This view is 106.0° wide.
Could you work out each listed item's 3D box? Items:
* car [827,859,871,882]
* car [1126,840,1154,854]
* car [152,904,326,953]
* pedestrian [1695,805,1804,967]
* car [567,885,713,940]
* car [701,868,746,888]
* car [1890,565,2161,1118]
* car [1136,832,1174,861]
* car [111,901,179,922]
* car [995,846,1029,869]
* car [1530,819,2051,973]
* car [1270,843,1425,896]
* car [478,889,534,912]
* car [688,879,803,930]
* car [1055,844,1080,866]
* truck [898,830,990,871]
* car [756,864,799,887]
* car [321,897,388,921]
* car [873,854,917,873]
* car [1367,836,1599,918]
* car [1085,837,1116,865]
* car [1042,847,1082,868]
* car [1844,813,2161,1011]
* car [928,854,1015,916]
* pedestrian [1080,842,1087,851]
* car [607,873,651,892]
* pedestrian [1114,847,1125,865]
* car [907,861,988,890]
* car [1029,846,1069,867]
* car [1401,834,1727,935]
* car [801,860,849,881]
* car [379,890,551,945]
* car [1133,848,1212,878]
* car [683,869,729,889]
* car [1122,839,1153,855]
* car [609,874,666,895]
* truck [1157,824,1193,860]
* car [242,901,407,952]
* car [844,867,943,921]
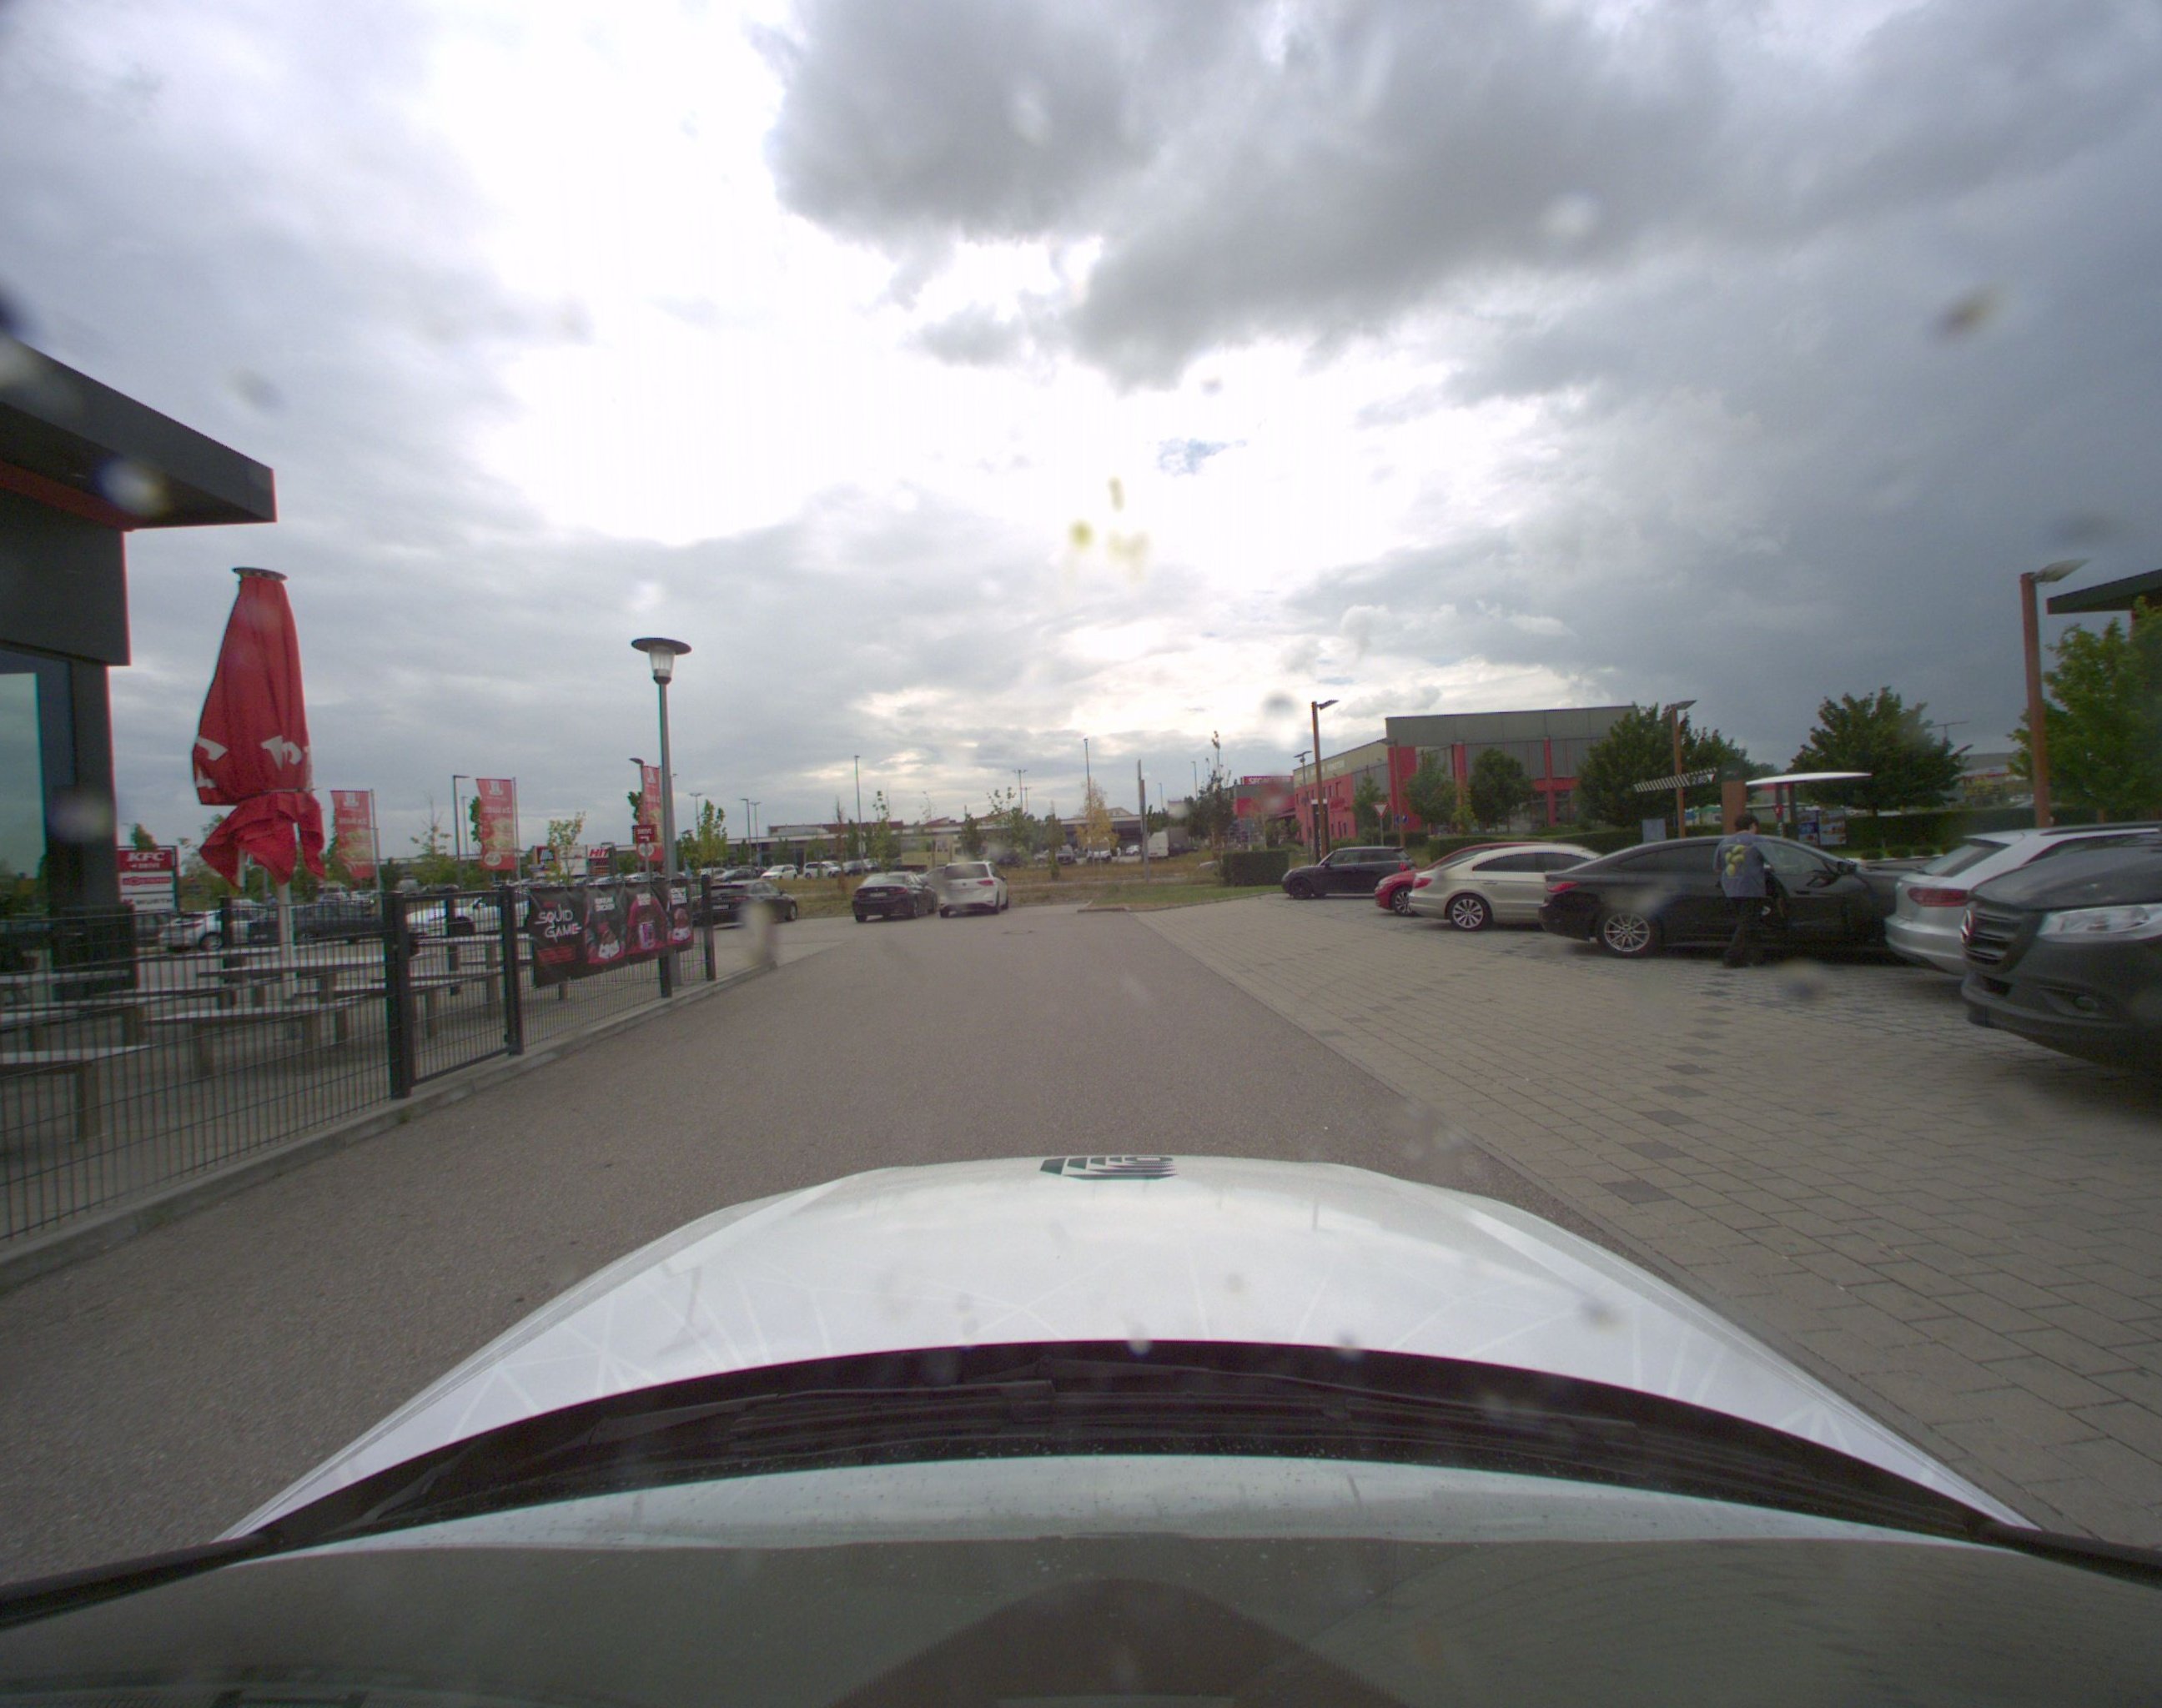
[{"bbox_3d":[-21.000,1.447,73.855,1.912,1.771,4.336,-3,1,12],"label":"car"},{"bbox_3d":[8.554,-1.027,118.502,3.972,1.735,1.935,-3,1,1],"label":"car"},{"bbox_3d":[-30.202,2.632,29.396,1.821,1.412,3.953,-3,-2,13],"label":"car"},{"bbox_3d":[7.395,0.344,9.015,0.832,1.678,0.754,-3,-2,42],"label":"pedestrian"},{"bbox_3d":[-13.757,1.764,25.808,1.898,1.456,4.743,-3,-2,1],"label":"car"},{"bbox_3d":[-33.651,2.283,76.785,1.754,1.539,4.069,-3,1,12],"label":"car"},{"bbox_3d":[7.852,-0.161,2.802,6.922,2.553,2.086,-2,0,39],"label":"car"},{"bbox_3d":[6.439,-0.722,71.634,2.333,2.267,6.500,-3,1,-3],"label":"car"},{"bbox_3d":[-74.074,4.546,64.464,4.175,1.394,1.775,-3,0,13],"label":"car"},{"bbox_3d":[-6.049,0.291,72.208,2.061,1.884,5.077,-3,0,5],"label":"car"},{"bbox_3d":[8.034,0.439,9.770,4.350,1.463,1.698,-2,0,39],"label":"car"},{"bbox_3d":[7.630,0.458,23.452,3.879,1.412,1.698,-2,0,36],"label":"car"},{"bbox_3d":[-41.871,3.381,59.342,3.421,1.370,1.439,-3,1,16],"label":"car"},{"bbox_3d":[-10.661,1.567,26.232,1.875,1.412,4.071,-3,-2,1],"label":"car"},{"bbox_3d":[-1.156,0.045,71.329,2.065,1.638,5.069,-3,1,-1],"label":"car"},{"bbox_3d":[-12.339,-0.277,72.864,8.322,3.195,3.049,-2,2,37],"label":"truck"},{"bbox_3d":[-28.161,1.970,75.601,1.984,1.771,4.327,-3,1,4],"label":"car"},{"bbox_3d":[-53.360,4.071,59.823,3.954,1.459,1.839,-3,1,18],"label":"car"},{"bbox_3d":[-20.264,1.040,88.891,4.294,1.771,2.000,-3,1,-1],"label":"car"},{"bbox_3d":[8.117,0.460,16.607,3.948,1.464,1.698,-2,0,38],"label":"car"},{"bbox_3d":[1.643,-0.346,71.647,2.401,2.214,6.058,-3,1,-1],"label":"car"},{"bbox_3d":[-1.915,0.345,82.443,3.976,1.738,1.890,-3,1,-2],"label":"car"},{"bbox_3d":[8.783,0.392,6.366,3.948,1.451,1.698,-2,0,39],"label":"car"},{"bbox_3d":[-3.366,0.962,25.861,1.979,1.713,4.373,-3,-2,1],"label":"car"},{"bbox_3d":[0.354,-1.215,130.956,0.656,1.429,0.789,-4,2,-38],"label":"pedestrian"},{"bbox_3d":[-44.965,2.787,81.019,1.756,1.539,3.774,-3,1,9],"label":"car"},{"bbox_3d":[3.351,0.174,71.035,0.782,1.429,0.978,-3,1,0],"label":"pedestrian"},{"bbox_3d":[-8.571,1.375,52.652,4.821,1.551,1.803,-3,1,1],"label":"car"},{"bbox_3d":[-3.411,0.262,86.669,3.985,2.013,1.995,-4,1,-9],"label":"car"},{"bbox_3d":[7.852,0.471,13.486,4.402,1.412,1.765,-2,0,38],"label":"car"},{"bbox_3d":[-25.072,1.648,79.880,3.956,1.771,2.009,-3,1,16],"label":"car"},{"bbox_3d":[-20.575,2.064,27.480,1.908,1.541,4.556,-3,-2,8],"label":"car"},{"bbox_3d":[5.767,0.570,51.804,4.818,1.551,1.804,-3,1,3],"label":"car"},{"bbox_3d":[-35.773,2.383,77.778,1.754,1.539,4.069,-3,1,12],"label":"car"},{"bbox_3d":[7.599,-0.957,109.880,3.972,1.837,2.001,-3,1,1],"label":"car"},{"bbox_3d":[-41.072,2.833,75.533,1.976,1.539,4.183,-3,2,22],"label":"car"},{"bbox_3d":[10.602,-1.388,92.610,2.641,3.742,8.251,-3,1,-2],"label":"truck"},{"bbox_3d":[-25.573,2.414,27.713,1.722,1.412,3.818,-3,-2,10],"label":"car"},{"bbox_3d":[-5.801,1.224,25.836,1.934,1.466,4.517,-3,-2,1],"label":"car"}]
